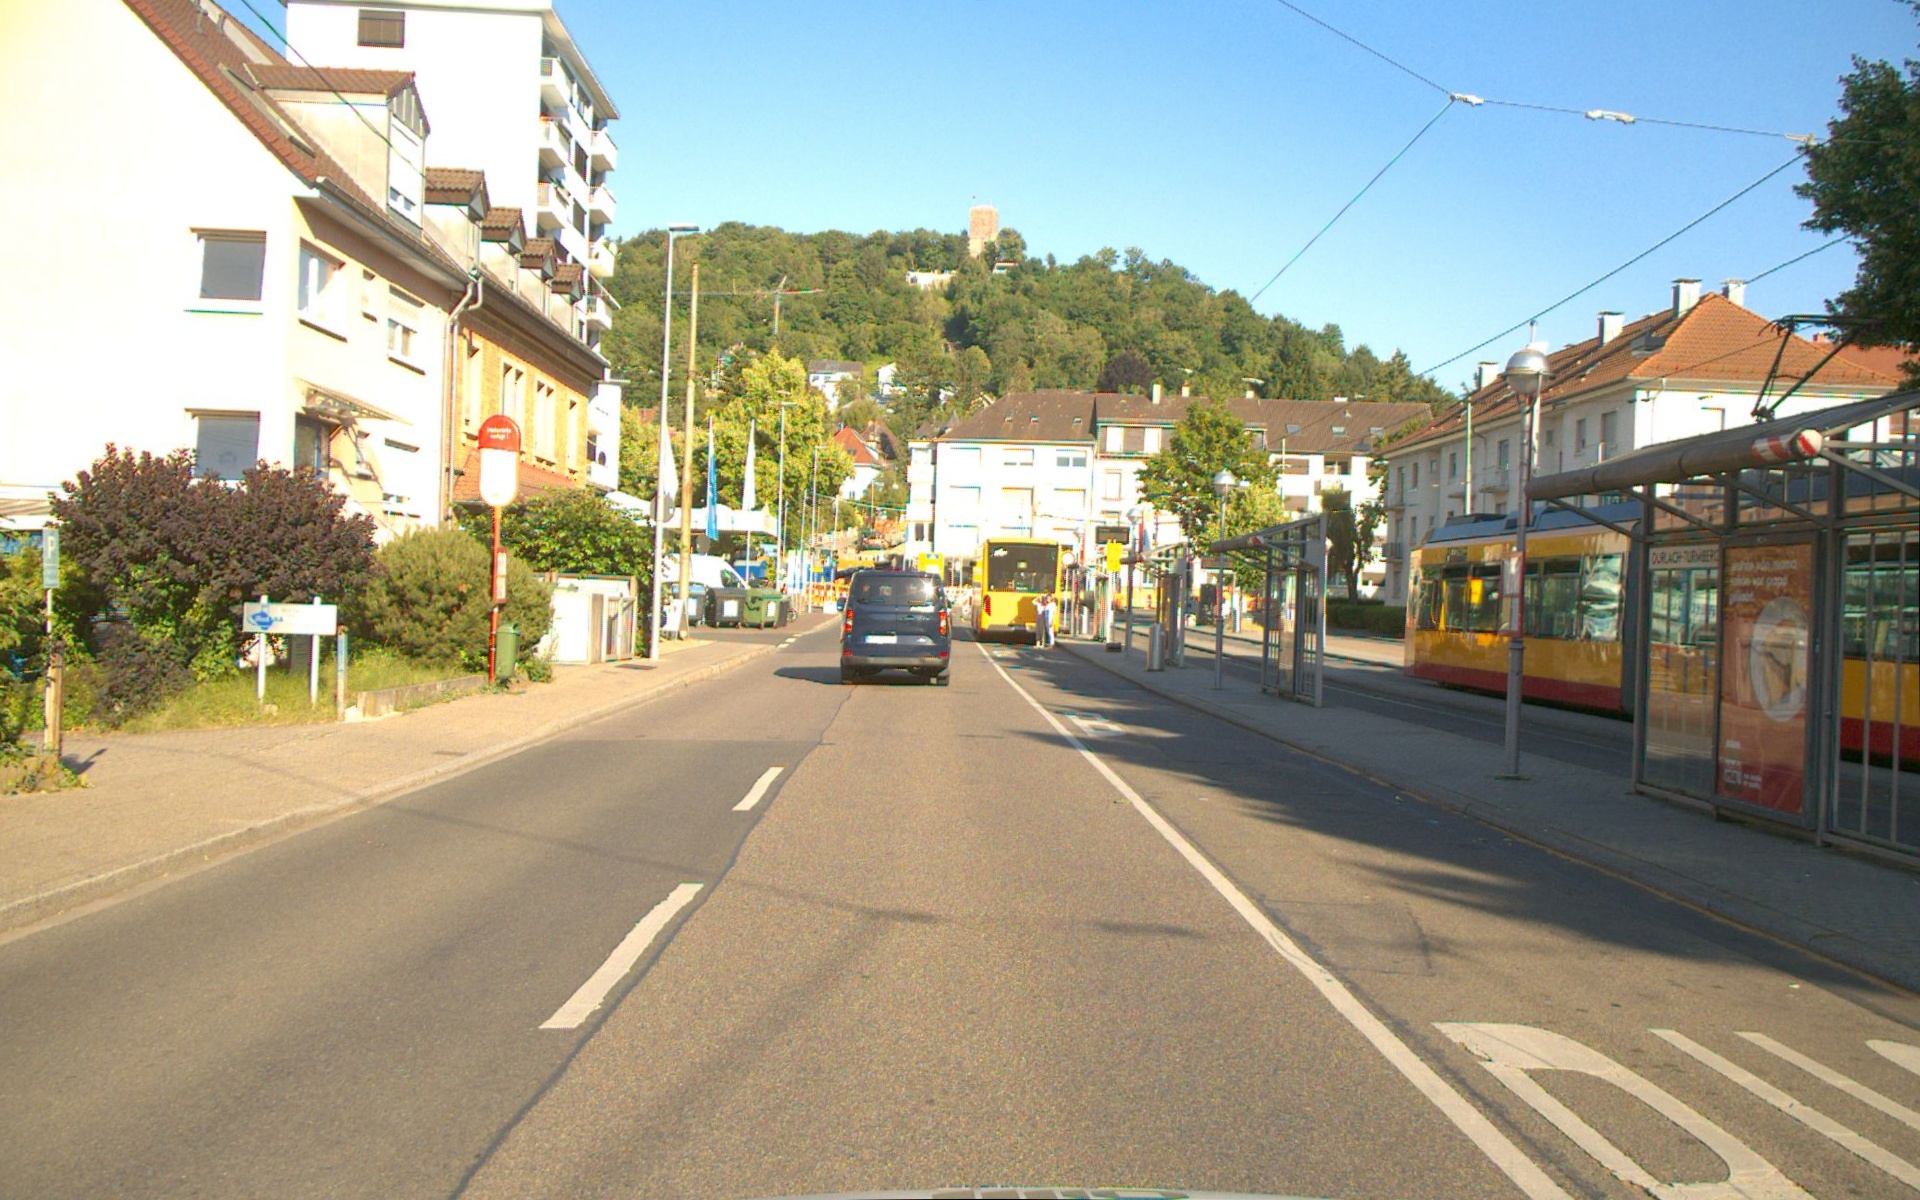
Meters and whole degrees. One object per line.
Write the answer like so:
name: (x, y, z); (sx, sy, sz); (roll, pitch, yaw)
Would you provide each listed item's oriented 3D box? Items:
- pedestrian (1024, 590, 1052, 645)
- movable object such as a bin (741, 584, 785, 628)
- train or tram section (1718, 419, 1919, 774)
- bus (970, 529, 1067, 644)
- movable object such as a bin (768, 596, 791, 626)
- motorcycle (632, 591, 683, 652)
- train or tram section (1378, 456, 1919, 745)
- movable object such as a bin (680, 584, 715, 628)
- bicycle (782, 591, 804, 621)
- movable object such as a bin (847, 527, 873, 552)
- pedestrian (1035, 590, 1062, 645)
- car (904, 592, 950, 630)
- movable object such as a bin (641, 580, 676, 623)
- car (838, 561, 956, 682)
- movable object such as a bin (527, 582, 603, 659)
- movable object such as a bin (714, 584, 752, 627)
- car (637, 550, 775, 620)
pedestrian: (2.365, 0.537, 50.240); (0.540, 1.641, 0.627); (2, 0, -39)
movable object such as a bin: (-7.270, 0.221, 61.188); (1.034, 1.508, 1.311); (4, 4, 27)
train or tram section: (11.212, -0.036, 14.289); (2.897, 3.596, 13.460); (1, -1, -1)
bus: (1.860, -0.508, 57.468); (2.634, 3.475, 12.016); (2, 1, -1)
movable object such as a bin: (-6.827, 0.421, 62.445); (0.646, 1.080, 0.585); (4, 2, 11)
motorcycle: (-6.794, 0.468, 37.206); (0.822, 1.304, 2.230); (2, 0, -4)
train or tram section: (10.912, 0.078, 28.743); (2.897, 3.596, 15.965); (1, -1, -1)
movable object such as a bin: (-9.497, 0.218, 59.875); (1.194, 1.508, 0.703); (1, 3, -6)
bicycle: (-6.871, 0.239, 68.007); (0.710, 1.198, 1.777); (2, 0, -10)
movable object such as a bin: (-11.681, -7.092, 193.411); (2.144, 2.737, 4.004); (2, 1, 10)
pedestrian: (2.669, 0.537, 49.850); (0.540, 1.641, 0.542); (2, 0, -39)
car: (-1.336, 0.440, 67.291); (1.758, 1.434, 3.999); (2, 0, -1)
movable object such as a bin: (-10.876, 0.053, 59.722); (1.155, 1.508, 0.703); (1, 3, -6)
car: (-1.129, 0.356, 30.746); (2.020, 2.049, 4.999); (0, 0, -1)
movable object such as a bin: (-7.724, 0.390, 32.402); (1.282, 1.454, 0.991); (1, 0, -5)
movable object such as a bin: (-8.262, 0.192, 60.171); (1.205, 1.508, 0.697); (0, 4, -30)
car: (-10.039, -0.595, 65.396); (4.987, 2.512, 2.094); (2, 0, -23)
